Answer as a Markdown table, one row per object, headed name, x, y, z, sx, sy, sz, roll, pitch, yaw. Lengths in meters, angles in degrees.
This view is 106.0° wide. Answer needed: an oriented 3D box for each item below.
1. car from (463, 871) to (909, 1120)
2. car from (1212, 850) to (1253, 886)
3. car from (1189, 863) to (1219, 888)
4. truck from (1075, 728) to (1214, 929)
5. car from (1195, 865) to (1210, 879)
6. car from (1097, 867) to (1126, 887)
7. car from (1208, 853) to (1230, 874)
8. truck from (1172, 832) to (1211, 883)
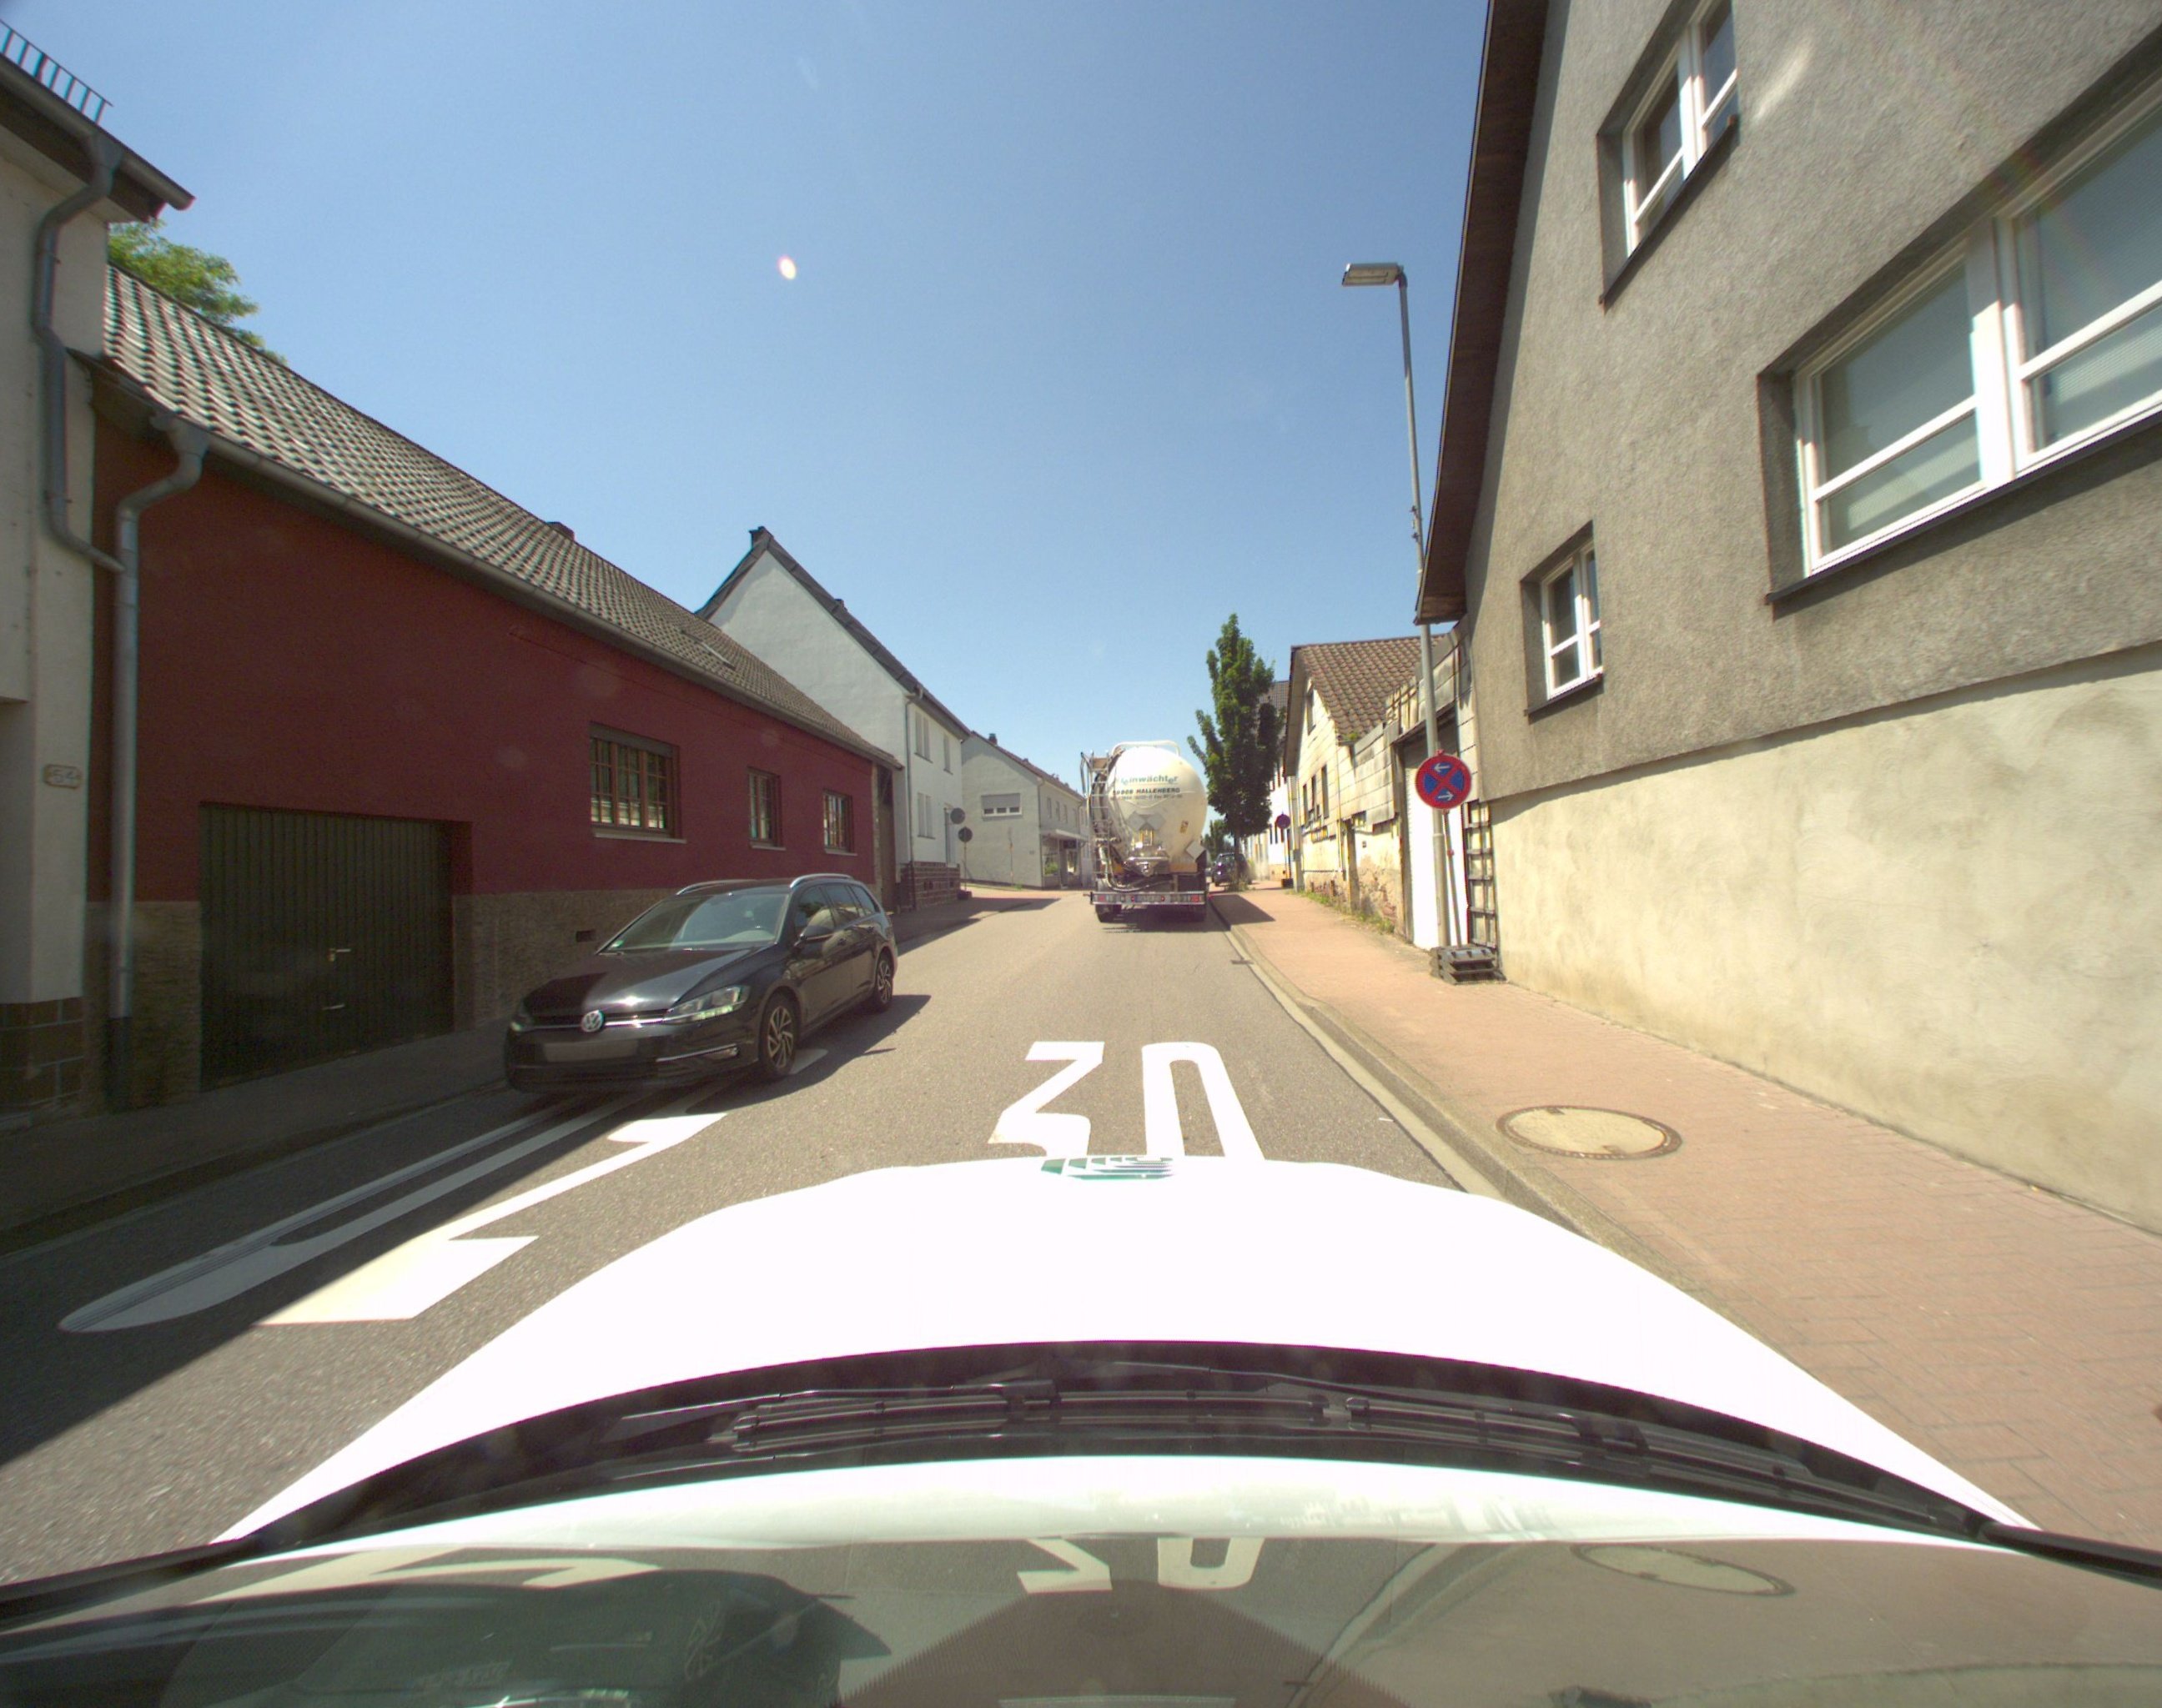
| name | x | y | z | sx | sy | sz | roll | pitch | yaw |
| --- | --- | --- | --- | --- | --- | --- | --- | --- | --- |
| car | -2.961 | 0.945 | 7.273 | 1.688 | 1.409 | 4.203 | -4 | 0 | 3 |
| car | 7.688 | 0.696 | 41.607 | 1.791 | 1.614 | 4.560 | -5 | -1 | 9 |
| car | 8.048 | 1.392 | 53.142 | 1.690 | 1.447 | 4.848 | -6 | -2 | 9 |
| truck | 1.719 | -0.458 | 20.271 | 2.718 | 3.960 | 8.156 | -1 | -1 | 7 |
| car | 18.340 | 2.719 | 123.123 | 1.935 | 1.970 | 4.794 | -4 | -2 | 7 |
| car | 2.544 | 1.873 | 66.624 | 1.797 | 1.557 | 4.576 | -1 | -2 | 9 |
| car | 13.702 | 0.968 | 81.077 | 1.935 | 1.970 | 4.794 | -4 | -2 | 7 |
| truck | 9.604 | 0.263 | 71.127 | 2.947 | 4.069 | 9.302 | -2 | 0 | 7 |
